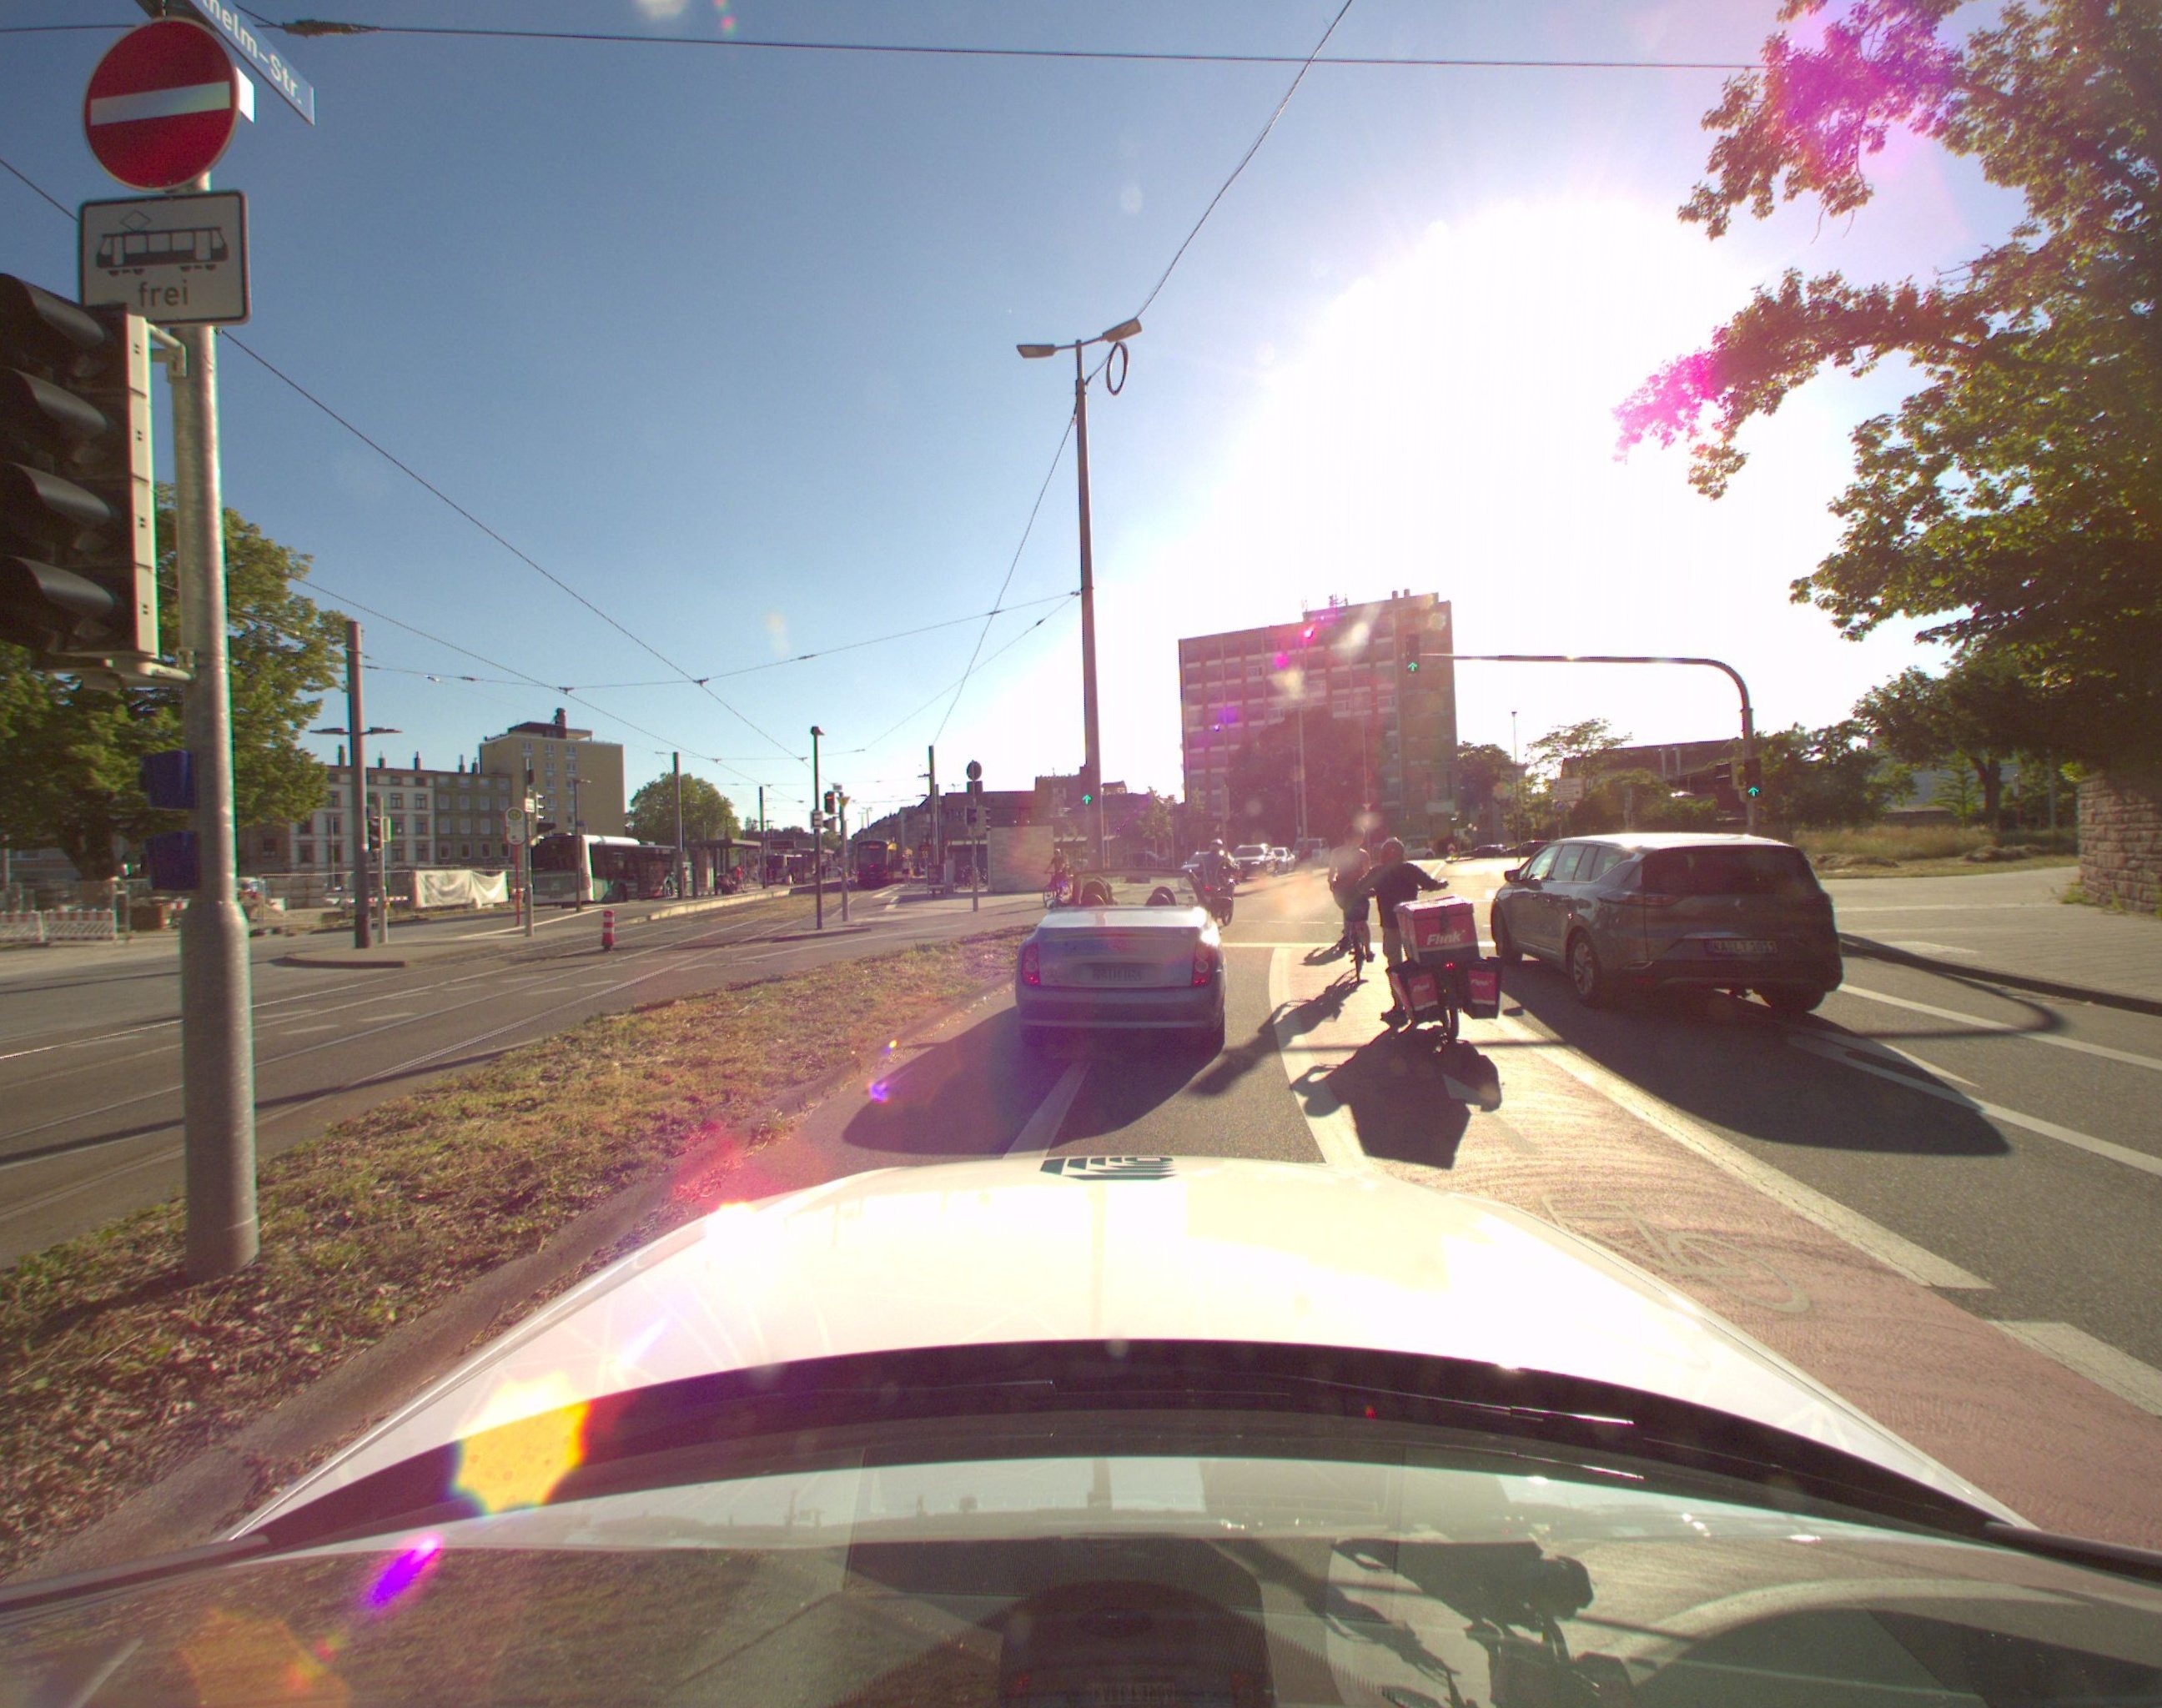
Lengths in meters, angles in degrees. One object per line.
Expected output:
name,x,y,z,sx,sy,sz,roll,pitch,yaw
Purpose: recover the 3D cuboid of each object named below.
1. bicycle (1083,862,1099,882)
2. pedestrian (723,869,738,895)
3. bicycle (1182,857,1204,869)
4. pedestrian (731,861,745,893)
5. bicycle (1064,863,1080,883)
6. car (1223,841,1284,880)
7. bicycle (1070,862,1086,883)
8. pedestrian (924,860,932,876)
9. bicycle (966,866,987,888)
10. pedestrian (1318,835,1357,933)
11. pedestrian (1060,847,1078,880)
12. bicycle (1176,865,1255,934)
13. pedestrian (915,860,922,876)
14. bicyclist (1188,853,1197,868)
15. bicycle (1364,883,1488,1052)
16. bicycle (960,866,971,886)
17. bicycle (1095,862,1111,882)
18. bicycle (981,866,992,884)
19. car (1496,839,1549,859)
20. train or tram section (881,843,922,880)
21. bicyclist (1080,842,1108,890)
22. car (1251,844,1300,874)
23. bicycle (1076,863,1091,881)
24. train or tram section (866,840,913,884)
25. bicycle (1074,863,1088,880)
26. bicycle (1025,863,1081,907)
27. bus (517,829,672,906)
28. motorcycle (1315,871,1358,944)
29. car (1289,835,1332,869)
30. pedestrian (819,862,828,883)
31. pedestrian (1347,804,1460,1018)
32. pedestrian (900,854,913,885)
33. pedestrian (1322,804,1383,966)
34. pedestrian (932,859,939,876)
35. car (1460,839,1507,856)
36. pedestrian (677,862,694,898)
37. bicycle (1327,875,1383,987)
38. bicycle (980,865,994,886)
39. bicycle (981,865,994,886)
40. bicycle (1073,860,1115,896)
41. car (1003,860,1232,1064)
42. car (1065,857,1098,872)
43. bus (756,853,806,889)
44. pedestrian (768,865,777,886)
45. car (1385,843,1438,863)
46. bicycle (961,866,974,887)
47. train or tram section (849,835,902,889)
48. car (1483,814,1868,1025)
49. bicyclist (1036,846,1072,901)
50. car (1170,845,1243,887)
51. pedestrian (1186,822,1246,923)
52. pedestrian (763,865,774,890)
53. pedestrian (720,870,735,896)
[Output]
bicycle,0.563,1.055,47.746,0.607,1.115,1.890,0,-1,-10
pedestrian,-18.726,1.473,43.496,0.571,1.346,0.636,-2,-1,-15
bicycle,11.991,0.969,87.223,2.383,1.191,0.613,-1,-1,32
pedestrian,-19.105,1.274,45.373,0.571,1.749,0.636,-2,-1,-15
bicycle,-0.535,1.092,47.384,0.607,1.115,1.890,0,-1,-10
car,8.346,0.276,39.051,1.745,1.706,4.557,-4,-1,26
bicycle,-0.173,1.015,45.443,0.607,1.115,1.890,0,-1,-10
pedestrian,-16.385,1.501,87.140,0.639,1.749,0.732,-2,-1,-17
bicycle,-5.461,1.203,42.768,0.603,1.115,1.901,0,-1,8
pedestrian,4.376,0.493,13.874,0.583,1.598,1.030,-1,-1,19
pedestrian,-0.690,0.546,46.984,0.901,1.869,0.684,0,-1,-11
bicycle,2.632,0.822,15.644,0.602,1.191,2.430,-1,-1,32
pedestrian,-18.061,1.529,90.569,0.604,1.749,0.830,-2,-1,-6
bicyclist,11.912,0.709,87.277,0.744,1.598,0.593,-1,-1,32
bicycle,2.947,0.873,7.174,0.550,1.171,2.380,-1,-1,12
bicycle,-6.554,1.250,46.326,0.606,1.115,1.891,0,-1,-8
bicycle,1.245,1.006,45.711,0.606,1.115,1.892,0,-1,-7
bicycle,-5.895,1.286,50.656,0.607,1.115,1.890,0,-1,-10
car,39.044,-0.448,72.012,3.948,1.530,1.816,-4,-1,32
train or tram section,-18.590,0.812,85.262,3.037,3.597,12.021,0,0,-7
bicyclist,0.470,0.423,29.330,0.702,1.657,0.747,-3,-1,24
car,10.998,0.257,45.914,1.678,1.560,4.004,-3,0,28
bicycle,0.137,1.137,51.445,0.607,1.115,1.890,0,-1,-10
train or tram section,-17.057,0.704,73.291,3.010,3.597,12.165,0,0,-8
bicycle,-0.023,1.132,53.422,0.607,1.115,1.890,0,-1,-10
bicycle,-0.864,0.967,25.994,0.668,1.250,2.471,-5,-1,24
bus,-22.365,0.572,38.256,2.652,3.135,9.617,0,-1,-8
motorcycle,4.390,0.865,13.901,0.608,1.097,2.372,-1,-1,19
car,14.909,-0.151,52.734,1.891,1.945,4.733,-4,-1,24
pedestrian,-21.774,1.559,68.820,0.641,1.749,0.567,-2,-1,-25
pedestrian,2.988,0.504,7.640,0.801,1.869,0.959,-1,-1,10
pedestrian,-9.862,0.873,46.001,0.639,1.749,0.569,-2,-1,-17
pedestrian,3.283,0.361,9.908,0.654,1.869,0.876,-1,-1,17
pedestrian,-15.577,1.416,87.342,0.639,1.749,0.732,-2,-1,-17
car,38.960,-0.618,78.840,3.949,1.574,1.746,-1,-1,29
pedestrian,-19.631,1.272,40.397,0.536,1.749,0.559,-2,-1,-4
bicycle,3.237,0.851,9.734,0.559,1.151,1.958,-1,-1,17
bicycle,-5.171,1.193,44.698,0.607,1.115,1.890,0,-1,-10
bicycle,-5.368,1.224,46.767,0.607,1.115,1.890,0,-1,-10
bicycle,0.488,0.842,29.333,0.668,1.180,2.195,-3,0,24
car,0.566,0.783,7.922,1.650,1.441,4.164,-1,-1,9
car,0.042,1.172,88.688,1.653,1.560,3.559,-2,0,-37
bus,-29.659,1.586,80.983,2.723,3.274,13.409,0,-1,-12
pedestrian,-25.432,1.782,67.183,0.571,1.749,0.636,-2,-1,-17
car,29.464,-0.122,72.678,3.986,1.530,1.799,-3,-1,-9
bicycle,-6.206,1.231,44.391,0.607,1.115,1.890,0,-1,-10
train or tram section,-15.253,0.581,61.249,2.881,3.597,12.158,0,-1,-10
car,5.920,0.546,8.866,1.818,1.689,4.384,-1,-1,13
bicyclist,-0.873,0.615,26.048,0.702,1.657,0.906,-5,-2,24
car,5.143,0.465,32.881,1.720,1.574,3.948,-1,-1,28
pedestrian,2.587,0.344,15.603,0.825,1.869,0.927,-1,-1,32
pedestrian,-22.651,1.693,59.055,0.641,1.749,0.567,-2,-1,-25
pedestrian,-18.597,1.520,42.810,0.617,1.340,0.438,-2,-1,-15
